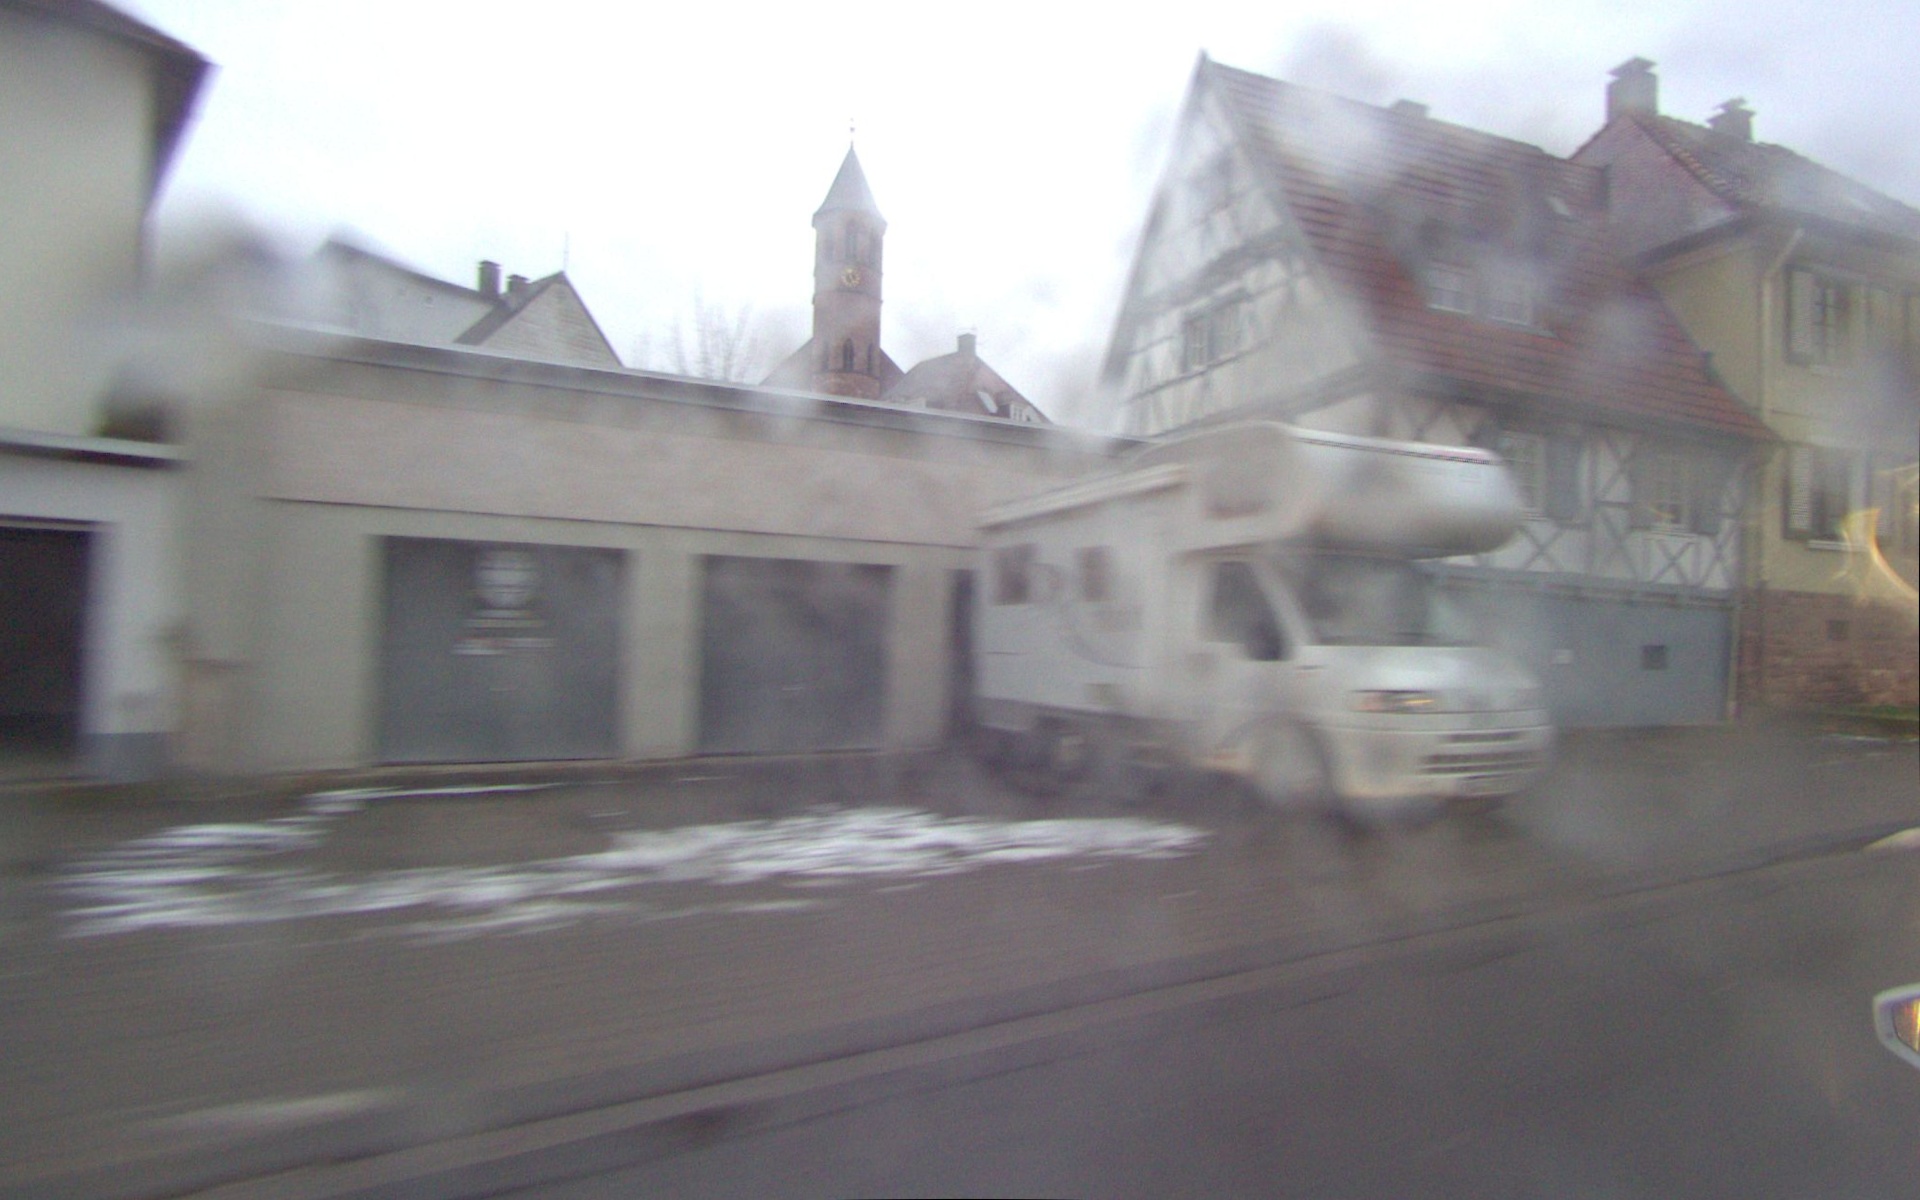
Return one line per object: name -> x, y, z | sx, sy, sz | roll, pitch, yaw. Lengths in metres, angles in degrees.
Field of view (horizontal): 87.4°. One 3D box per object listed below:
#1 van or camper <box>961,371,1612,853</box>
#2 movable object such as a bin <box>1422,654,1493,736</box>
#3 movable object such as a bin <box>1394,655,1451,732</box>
van or camper -> 2.319, 0.251, 9.433 | 2.292, 2.980, 6.042 | 1, -4, -25
movable object such as a bin -> 6.610, 1.253, 13.362 | 0.571, 1.034, 0.616 | 1, -1, -19
movable object such as a bin -> 6.065, 1.215, 13.182 | 0.494, 0.960, 0.456 | 1, -1, -19
